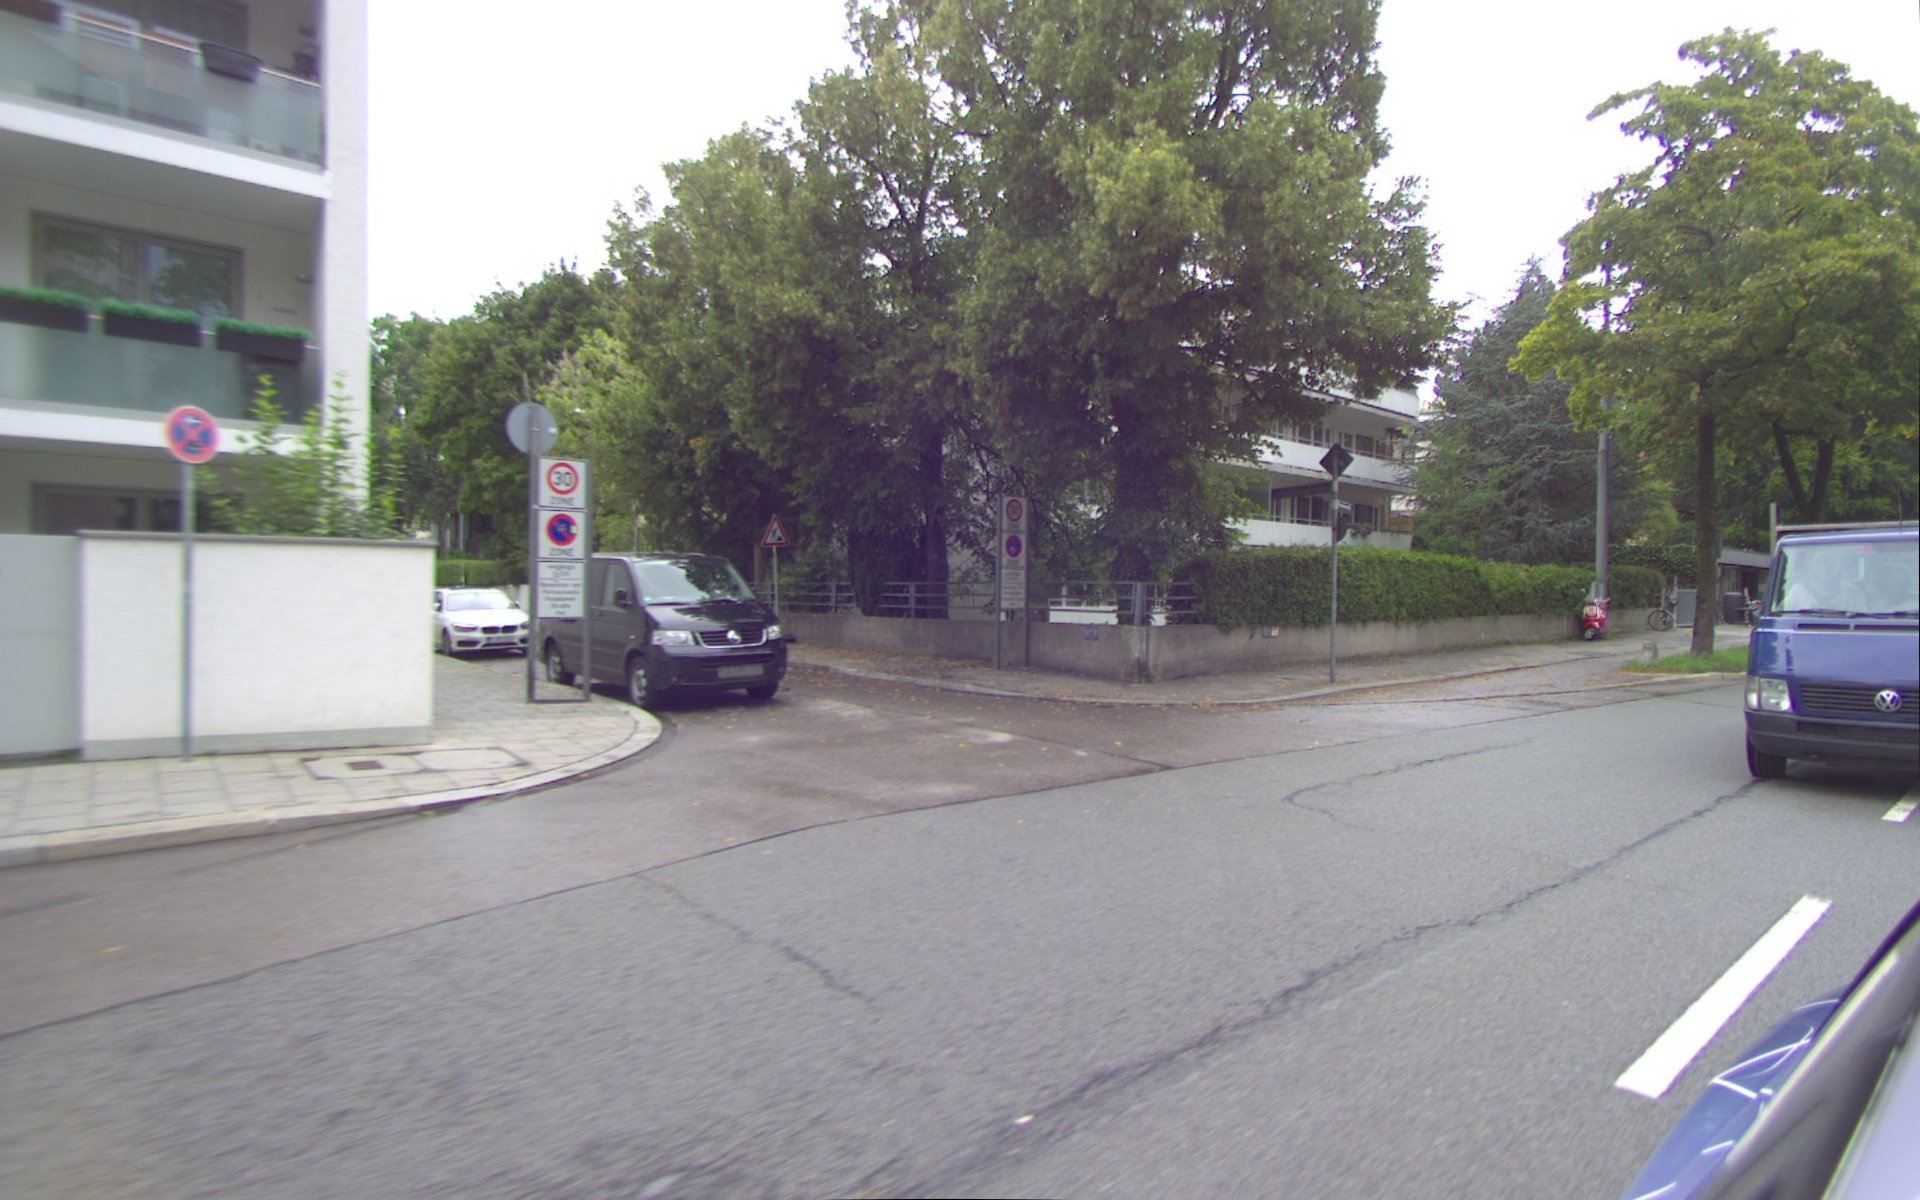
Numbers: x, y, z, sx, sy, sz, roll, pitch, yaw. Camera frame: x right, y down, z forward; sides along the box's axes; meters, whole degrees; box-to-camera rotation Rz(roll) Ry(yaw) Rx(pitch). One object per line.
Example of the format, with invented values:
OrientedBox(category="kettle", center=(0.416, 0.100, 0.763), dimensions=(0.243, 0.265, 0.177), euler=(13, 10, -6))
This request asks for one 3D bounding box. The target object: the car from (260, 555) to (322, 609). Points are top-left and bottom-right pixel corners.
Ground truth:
OrientedBox(category="car", center=(-31.225, -0.870, 47.184), dimensions=(1.835, 2.361, 4.684), euler=(-1, 2, -40))

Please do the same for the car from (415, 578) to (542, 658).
OrientedBox(category="car", center=(-10.374, 0.300, 21.660), dimensions=(1.833, 1.482, 4.001), euler=(-1, 2, -35))

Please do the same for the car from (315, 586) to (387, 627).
OrientedBox(category="car", center=(-20.229, 0.184, 33.564), dimensions=(1.832, 1.270, 3.000), euler=(0, 1, -35))

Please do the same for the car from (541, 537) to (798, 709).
OrientedBox(category="car", center=(-4.150, 0.174, 13.890), dimensions=(1.840, 1.947, 4.734), euler=(-1, 2, -37))

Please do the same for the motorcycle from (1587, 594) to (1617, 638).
OrientedBox(category="motorcycle", center=(17.856, 0.427, 28.134), dimensions=(0.494, 1.156, 1.610), euler=(1, 1, 39))

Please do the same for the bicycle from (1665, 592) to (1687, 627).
OrientedBox(category="bicycle", center=(23.386, 0.292, 33.052), dimensions=(0.488, 1.113, 1.610), euler=(1, 1, 39))

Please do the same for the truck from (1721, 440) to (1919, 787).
OrientedBox(category="truck", center=(8.779, 0.092, 9.119), dimensions=(5.060, 2.520, 1.997), euler=(0, 1, -41))
